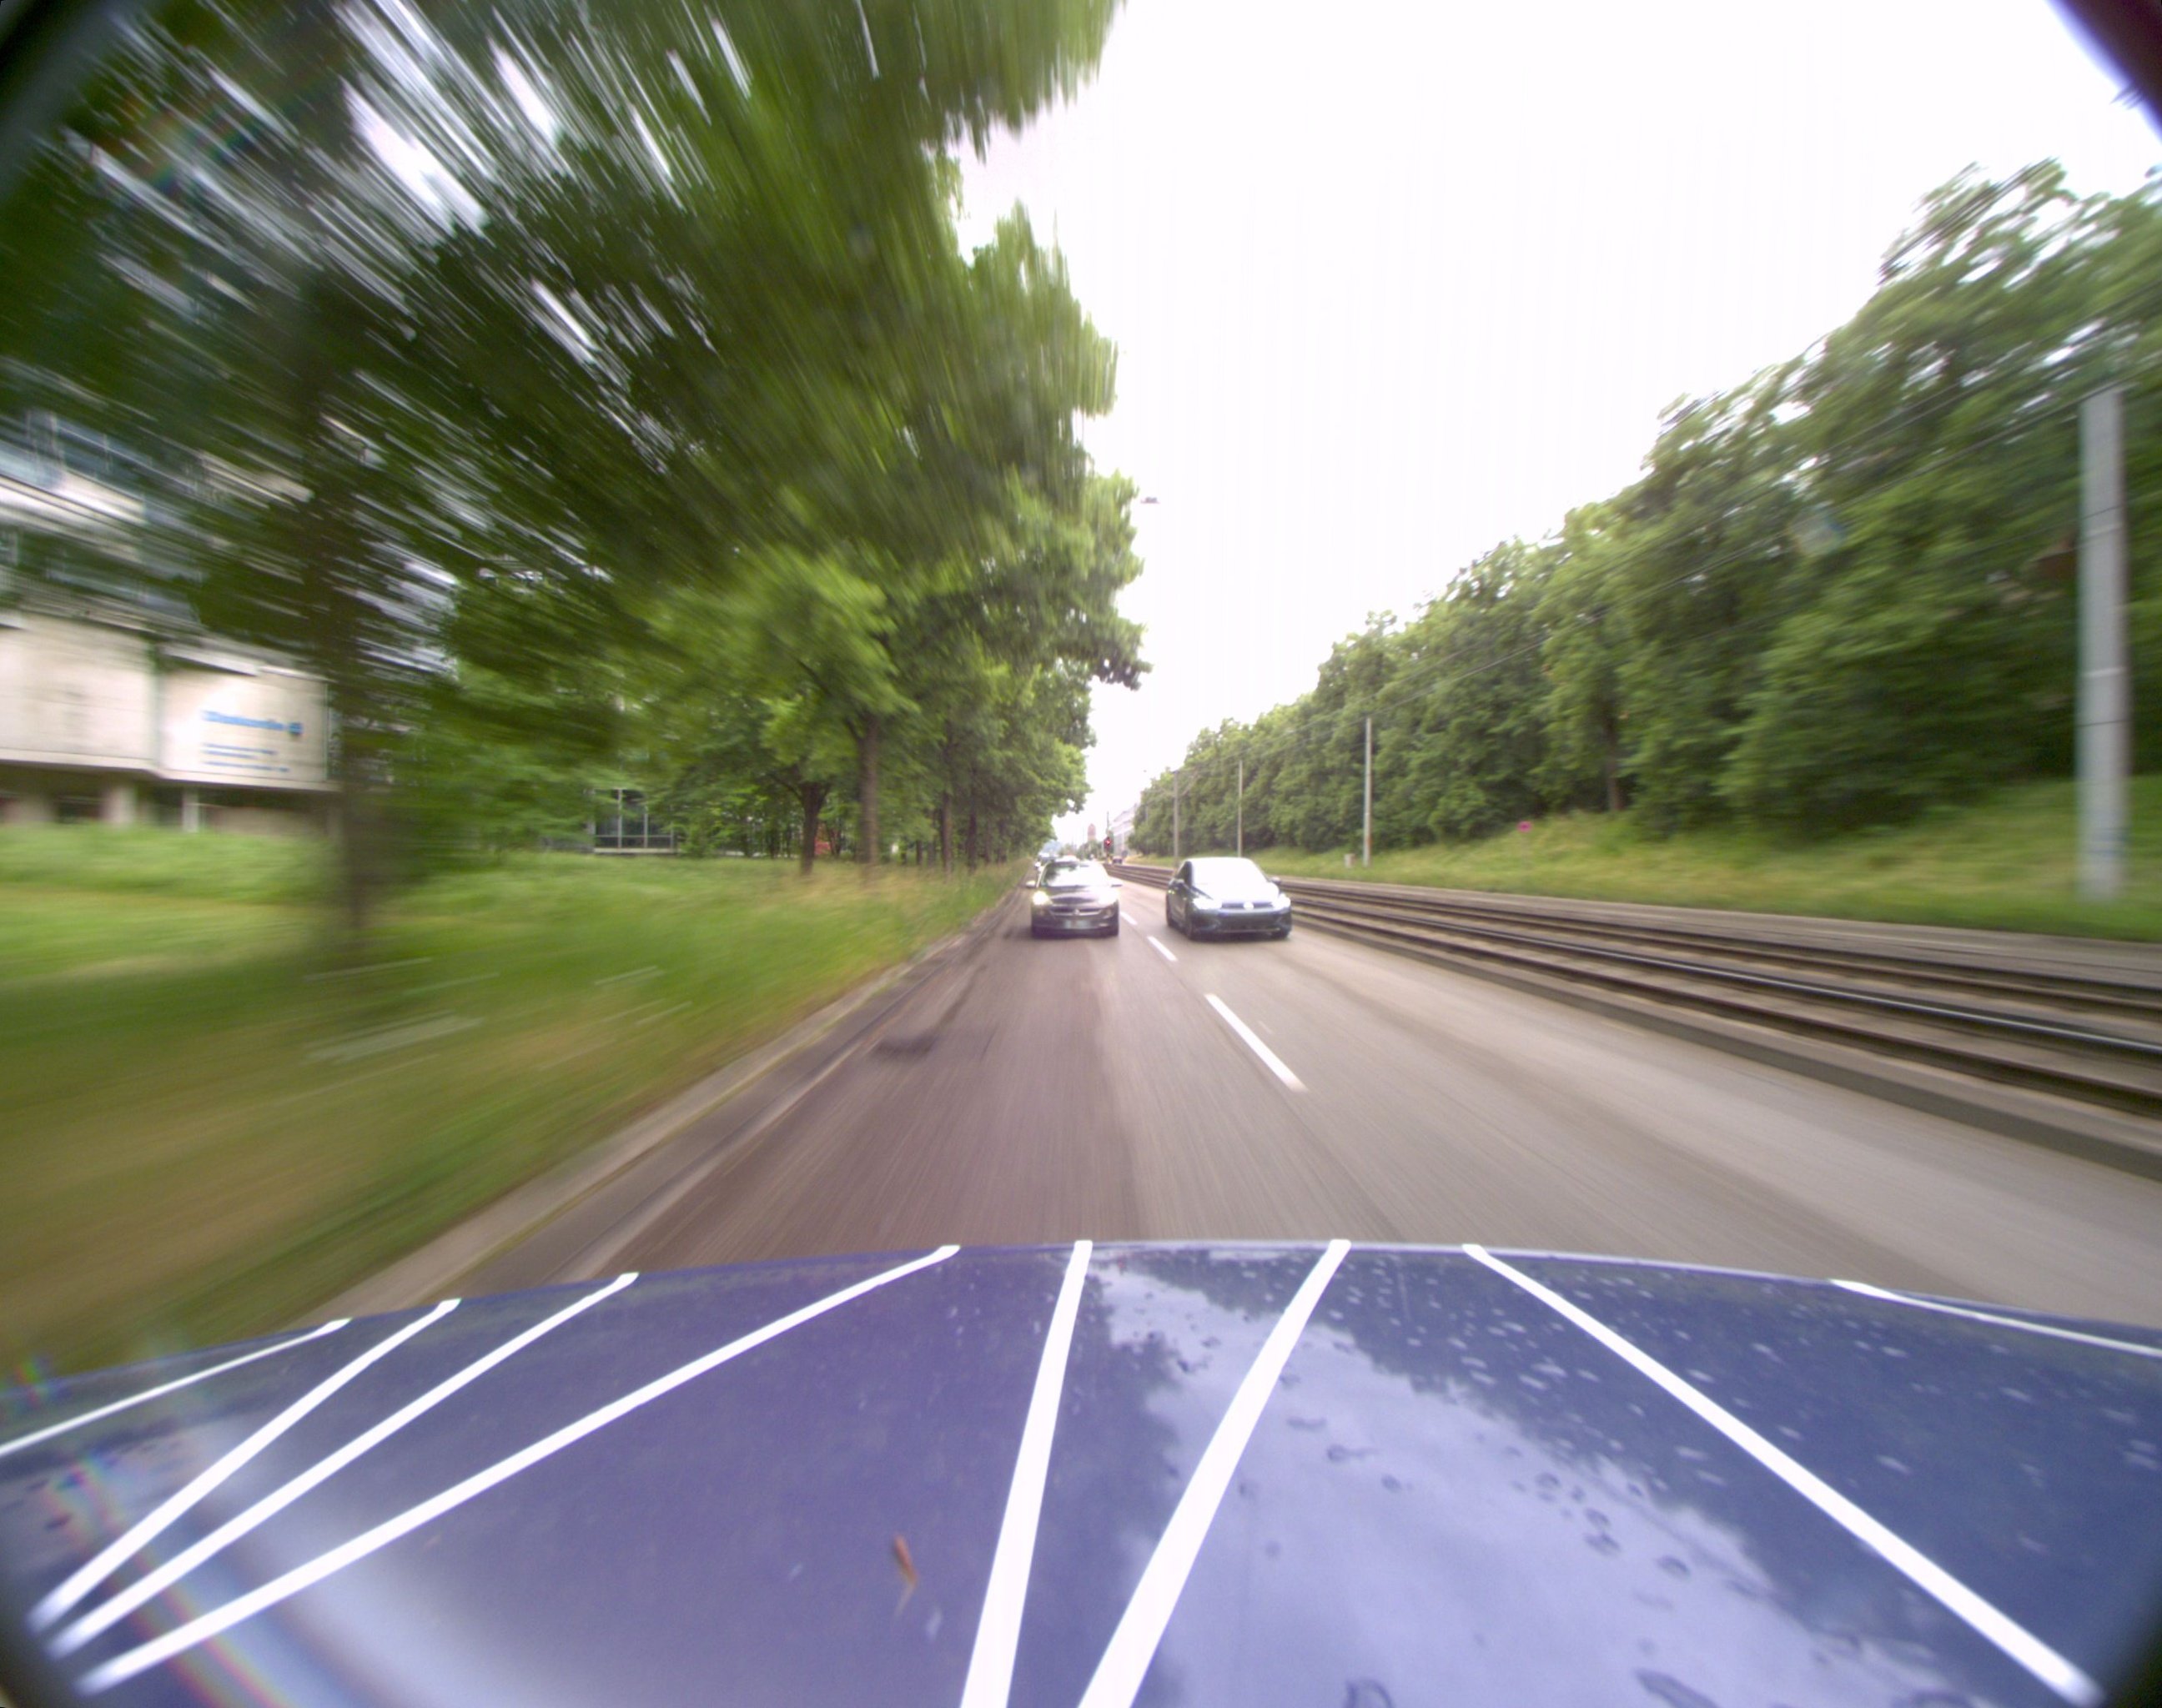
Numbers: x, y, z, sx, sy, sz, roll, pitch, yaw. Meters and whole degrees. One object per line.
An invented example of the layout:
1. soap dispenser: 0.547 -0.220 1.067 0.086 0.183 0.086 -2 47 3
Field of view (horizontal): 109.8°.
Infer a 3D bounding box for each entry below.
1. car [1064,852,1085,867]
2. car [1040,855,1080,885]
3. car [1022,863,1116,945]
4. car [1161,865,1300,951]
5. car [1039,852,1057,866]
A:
1. car: -0.720 0.632 82.159 1.961 1.472 4.698 -2 -1 -4
2. car: -1.048 0.822 39.790 1.960 1.456 4.699 -1 0 0
3. car: -0.127 0.938 16.137 1.710 1.425 4.429 -1 0 2
4. car: 2.723 0.932 14.853 1.813 1.370 4.347 -1 0 -1
5. car: -3.860 0.605 88.161 1.961 1.469 4.698 -2 -1 -3
